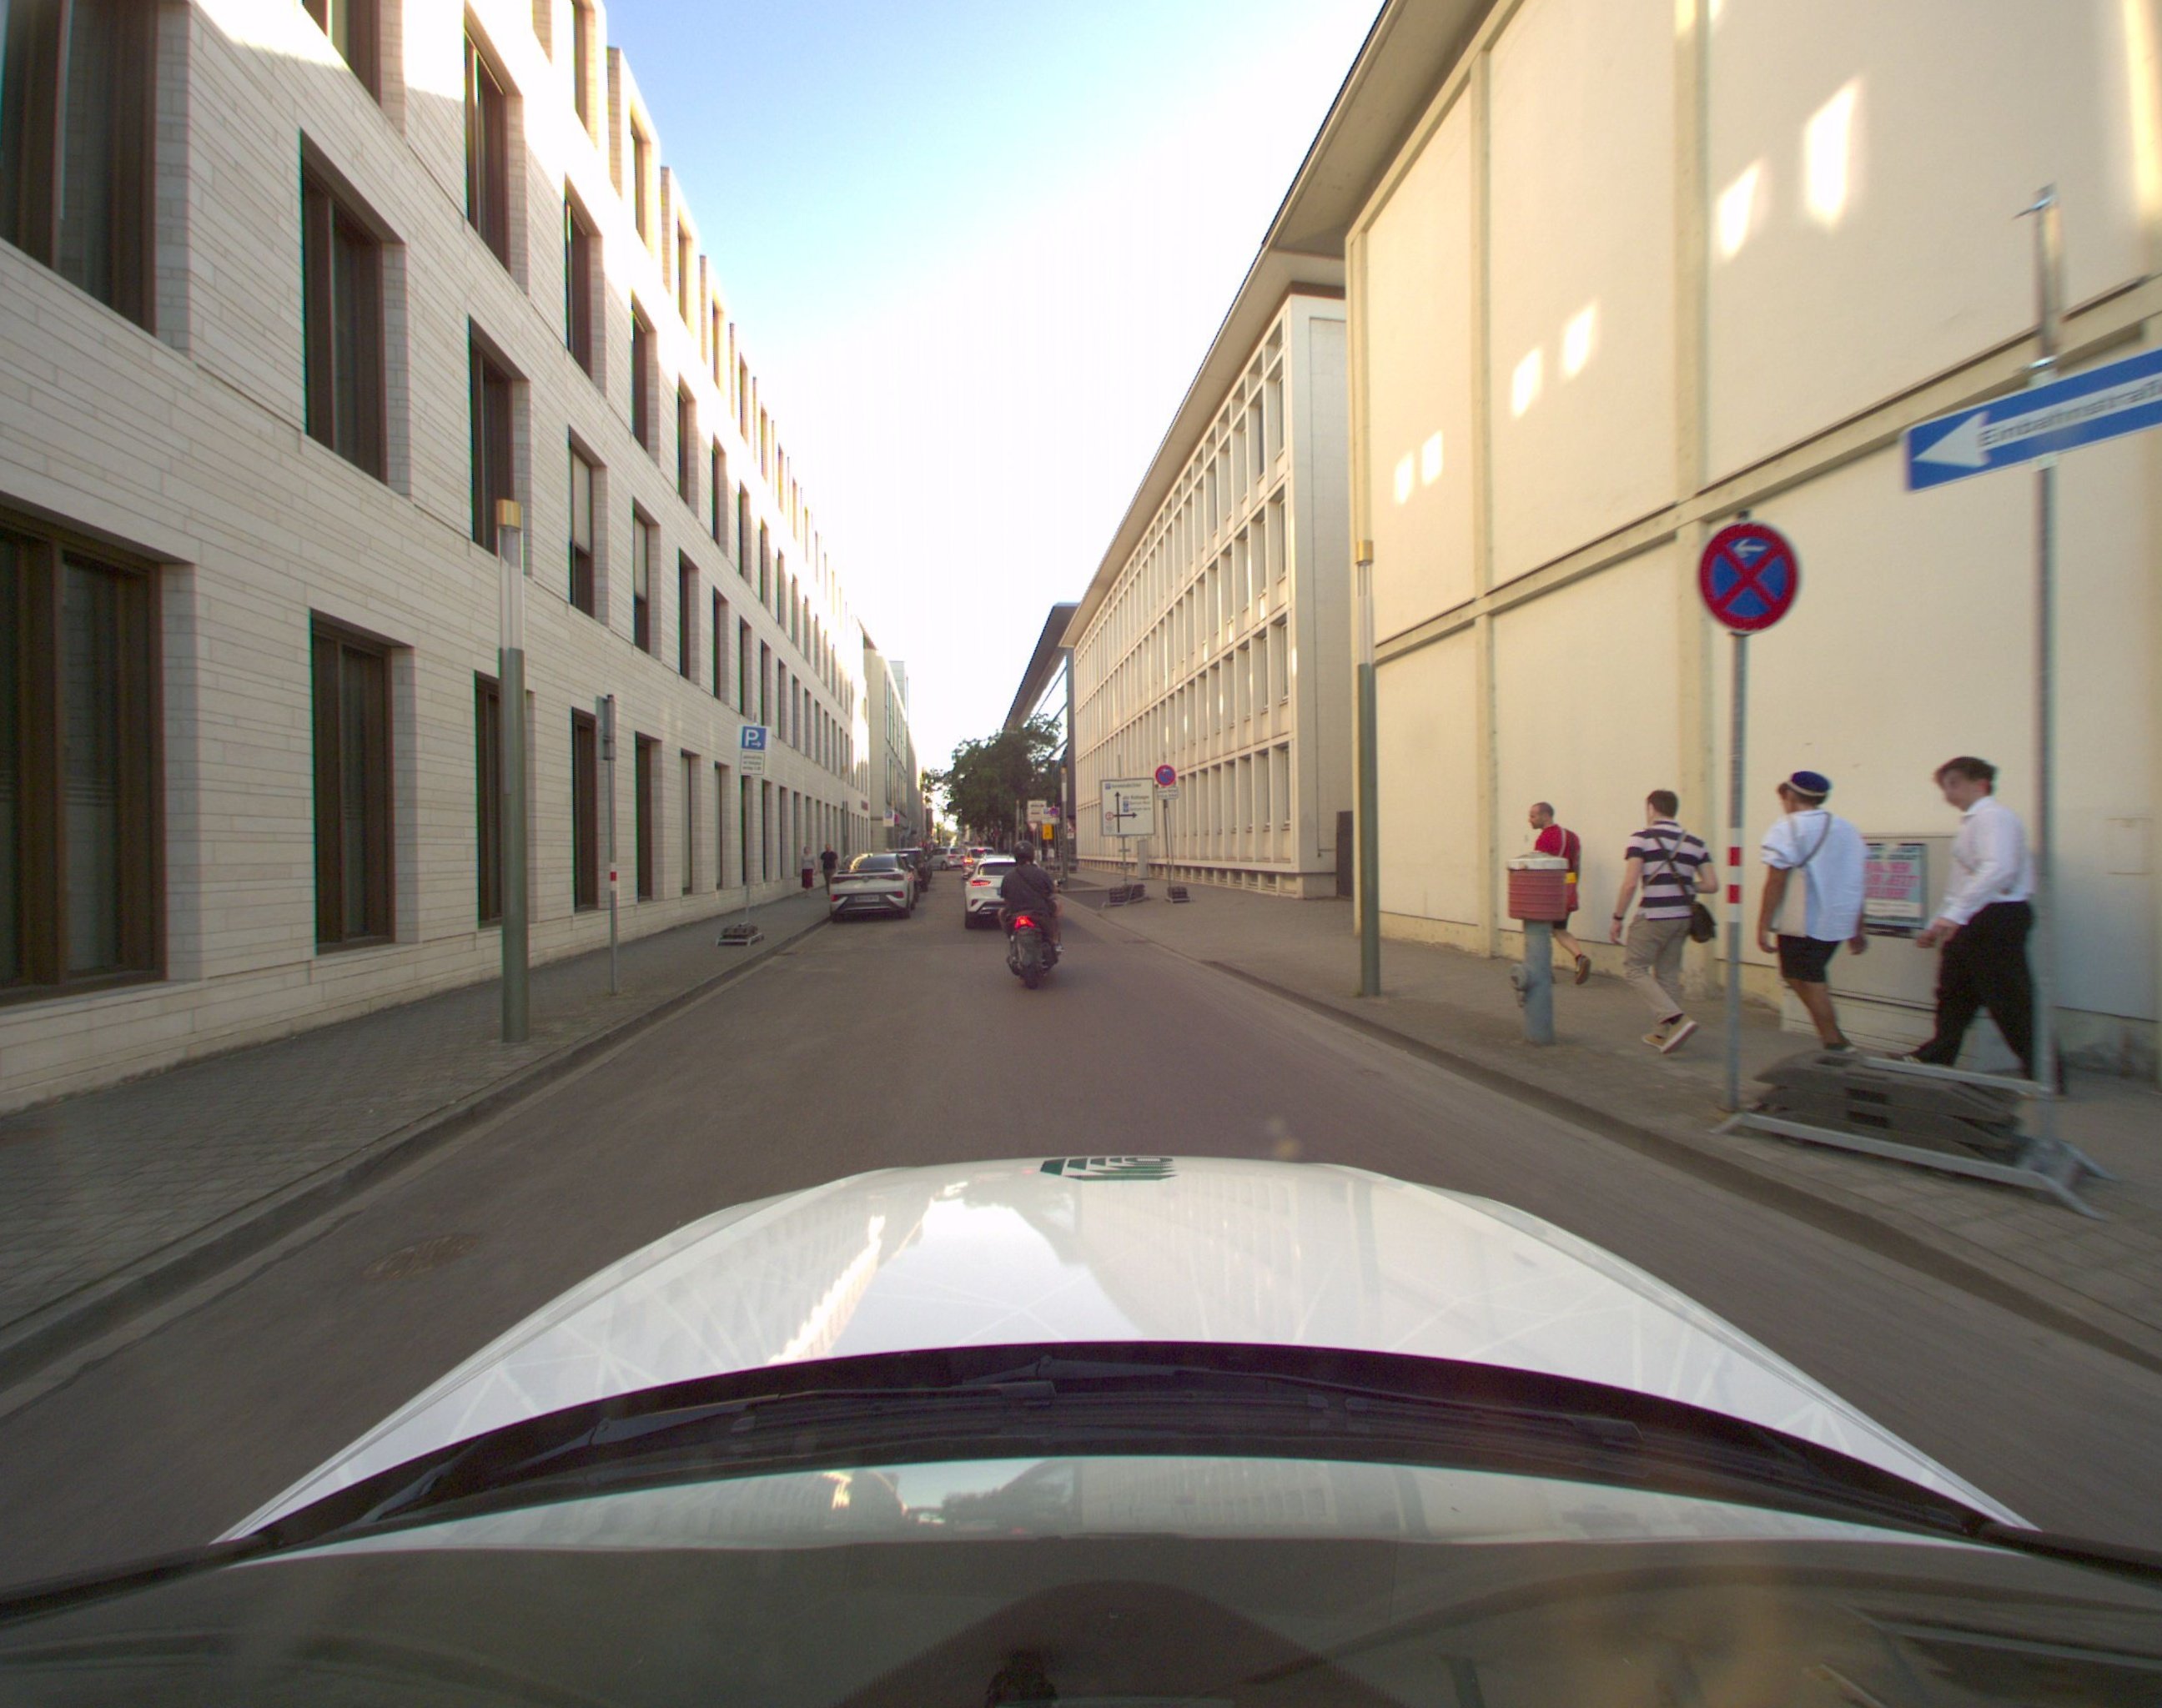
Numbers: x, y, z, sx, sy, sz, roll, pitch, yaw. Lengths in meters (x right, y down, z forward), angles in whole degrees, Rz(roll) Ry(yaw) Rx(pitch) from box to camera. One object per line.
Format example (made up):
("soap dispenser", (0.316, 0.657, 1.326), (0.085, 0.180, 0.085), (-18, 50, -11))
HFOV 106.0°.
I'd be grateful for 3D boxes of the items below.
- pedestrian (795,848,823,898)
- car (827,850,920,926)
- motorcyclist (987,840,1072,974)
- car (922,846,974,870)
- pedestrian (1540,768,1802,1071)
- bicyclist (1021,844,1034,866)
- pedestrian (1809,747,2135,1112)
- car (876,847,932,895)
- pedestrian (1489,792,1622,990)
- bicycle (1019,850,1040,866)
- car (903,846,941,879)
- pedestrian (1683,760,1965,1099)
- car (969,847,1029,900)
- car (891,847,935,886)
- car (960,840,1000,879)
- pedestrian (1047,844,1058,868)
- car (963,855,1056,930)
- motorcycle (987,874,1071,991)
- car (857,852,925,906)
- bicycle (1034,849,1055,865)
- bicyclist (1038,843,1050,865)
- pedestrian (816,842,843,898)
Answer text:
("pedestrian", (-9.210, 0.631, 27.568), (0.704, 1.613, 0.858), (-2, 0, -9))
("car", (-5.142, 0.755, 20.675), (1.810, 1.606, 4.254), (-3, 1, -9))
("motorcyclist", (-0.632, 0.621, 10.310), (0.951, 1.559, 1.238), (-2, 0, -2))
("car", (-9.334, 0.300, 56.982), (1.914, 1.596, 3.954), (-1, 0, -39))
("pedestrian", (3.981, 0.392, 5.616), (0.714, 1.801, 1.243), (-4, 1, -9))
("bicyclist", (-4.252, 0.061, 64.812), (0.742, 1.706, 0.739), (-2, 0, 12))
("pedestrian", (4.912, 0.367, 4.561), (0.709, 1.777, 0.938), (-4, 1, -9))
("car", (-6.833, 0.608, 31.747), (1.810, 1.645, 3.505), (-3, 1, -9))
("pedestrian", (4.636, 0.337, 7.996), (0.709, 1.801, 0.773), (-4, 1, -9))
("bicycle", (-4.085, 0.298, 64.768), (1.553, 1.249, 0.554), (-2, 0, 12))
("car", (-8.620, 0.437, 44.394), (1.776, 1.606, 3.505), (-3, 1, -9))
("pedestrian", (4.388, 0.397, 4.884), (0.709, 1.777, 0.938), (-4, 1, -9))
("car", (-2.771, 0.580, 26.905), (1.773, 1.550, 4.095), (-2, 1, -8))
("car", (-7.788, 0.541, 38.002), (1.776, 1.606, 3.505), (-3, 1, -9))
("car", (-5.371, 0.261, 42.962), (1.924, 1.856, 3.988), (-2, 1, -9))
("pedestrian", (-1.978, 0.137, 55.988), (0.642, 1.601, 0.619), (-2, 0, -7))
("car", (-1.550, 0.764, 18.205), (1.855, 1.472, 3.995), (0, 0, -4))
("motorcycle", (-0.622, 0.910, 10.378), (0.903, 1.183, 2.577), (-2, 1, -2))
("car", (-6.091, 0.751, 26.416), (1.810, 1.527, 3.505), (-3, 1, -9))
("bicycle", (-2.959, 0.238, 66.139), (1.553, 1.249, 0.554), (-2, 0, 12))
("bicyclist", (-2.995, -0.003, 66.143), (0.742, 1.706, 0.739), (-2, 0, 12))
("pedestrian", (-8.379, 0.523, 27.128), (0.704, 1.786, 0.725), (-2, 0, -9))
